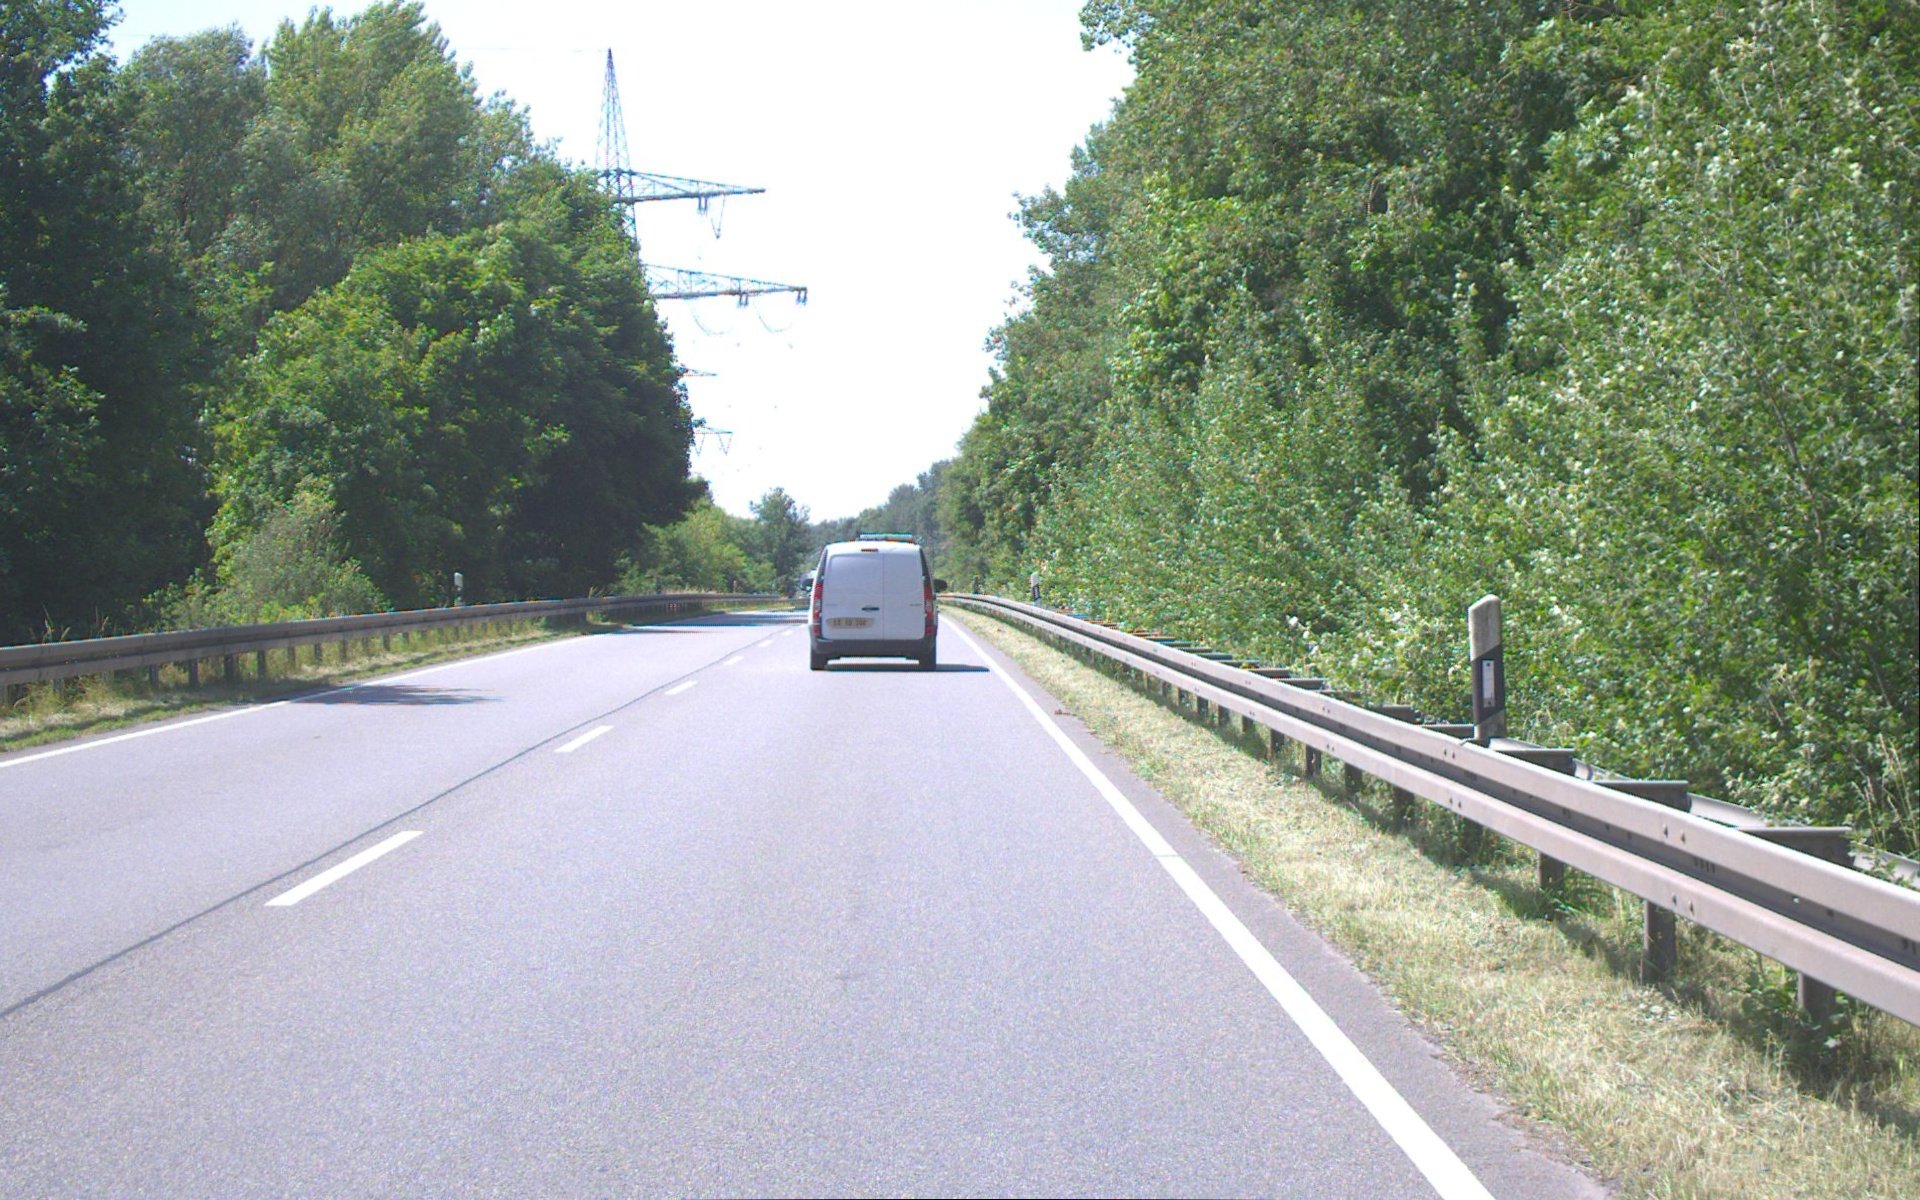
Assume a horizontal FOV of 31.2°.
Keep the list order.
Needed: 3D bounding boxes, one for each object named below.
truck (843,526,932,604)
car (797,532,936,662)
[{"bbox_3d":[-3.001,-1.545,147.126,3.296,3.161,14.404,1,1,1],"label":"truck"},{"bbox_3d":[-1.306,-0.075,48.560,1.875,1.735,4.000,1,1,-1],"label":"car"}]
